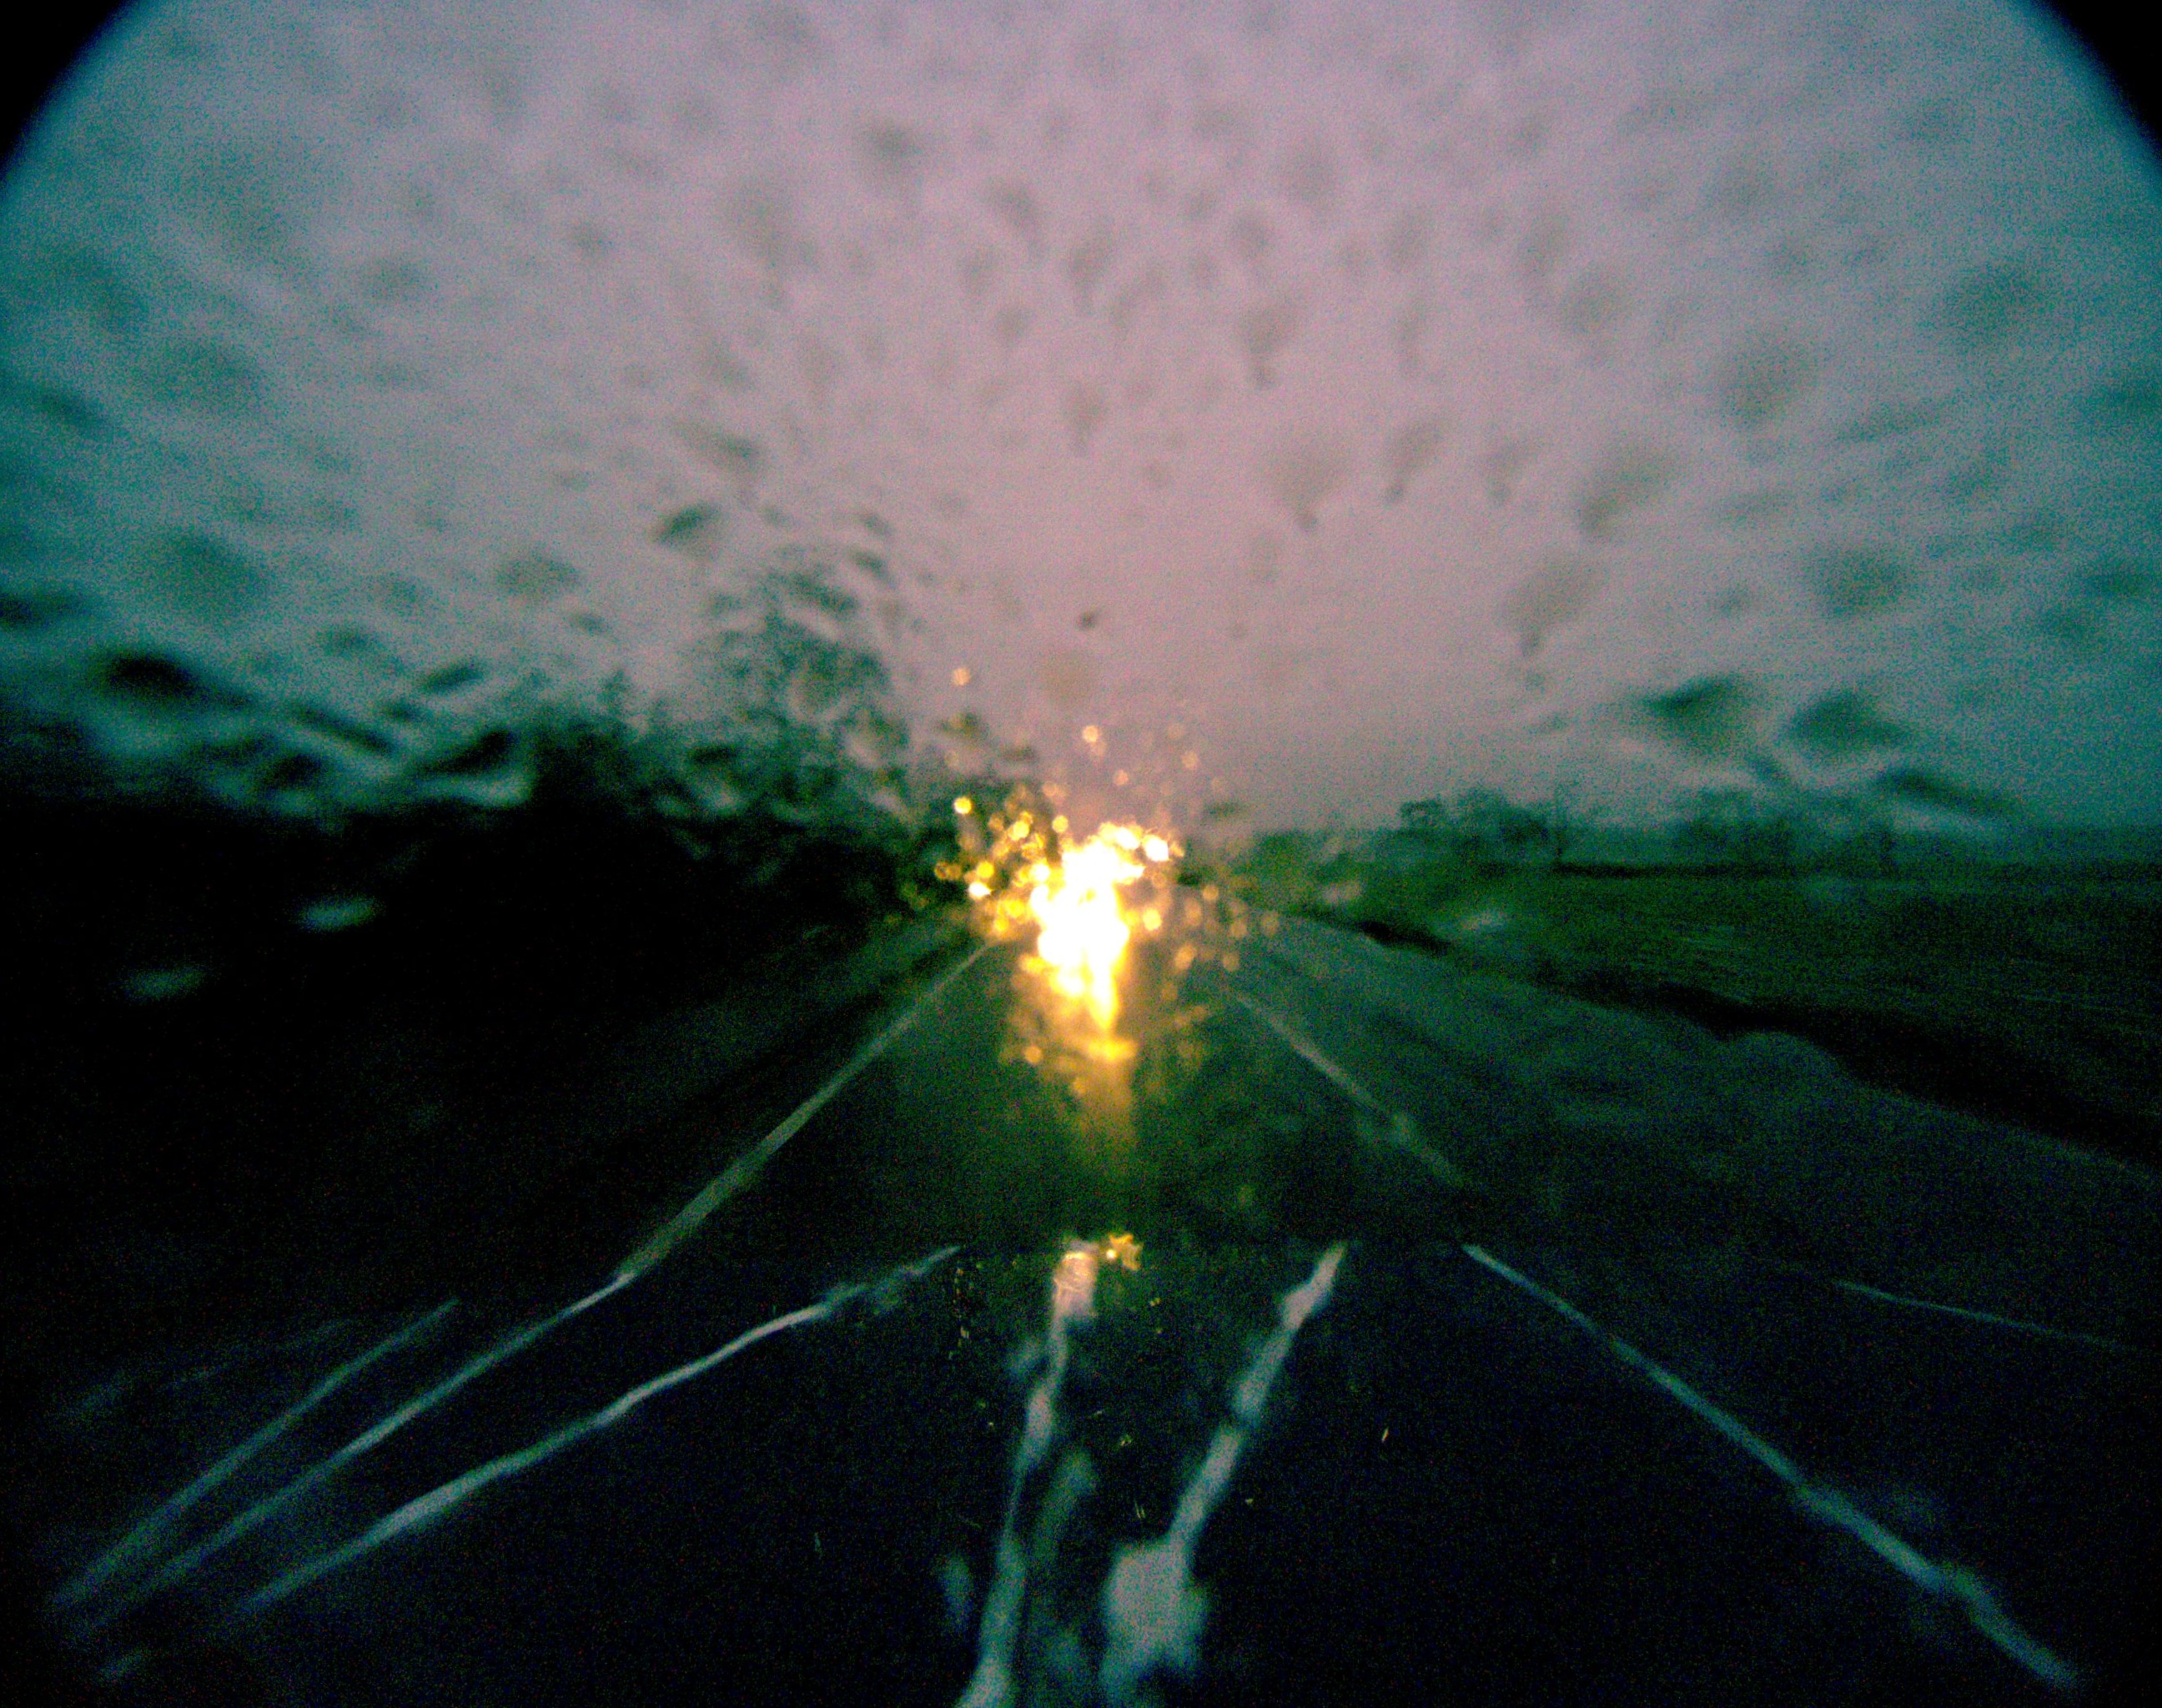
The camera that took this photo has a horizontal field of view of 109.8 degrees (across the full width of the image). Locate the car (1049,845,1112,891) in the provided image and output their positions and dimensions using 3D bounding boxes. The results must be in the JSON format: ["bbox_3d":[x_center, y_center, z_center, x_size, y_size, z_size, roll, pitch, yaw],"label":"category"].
[{"bbox_3d":[0.024,0.586,36.294,2.704,1.974,5.804,-2,1,1],"label":"car"}]
